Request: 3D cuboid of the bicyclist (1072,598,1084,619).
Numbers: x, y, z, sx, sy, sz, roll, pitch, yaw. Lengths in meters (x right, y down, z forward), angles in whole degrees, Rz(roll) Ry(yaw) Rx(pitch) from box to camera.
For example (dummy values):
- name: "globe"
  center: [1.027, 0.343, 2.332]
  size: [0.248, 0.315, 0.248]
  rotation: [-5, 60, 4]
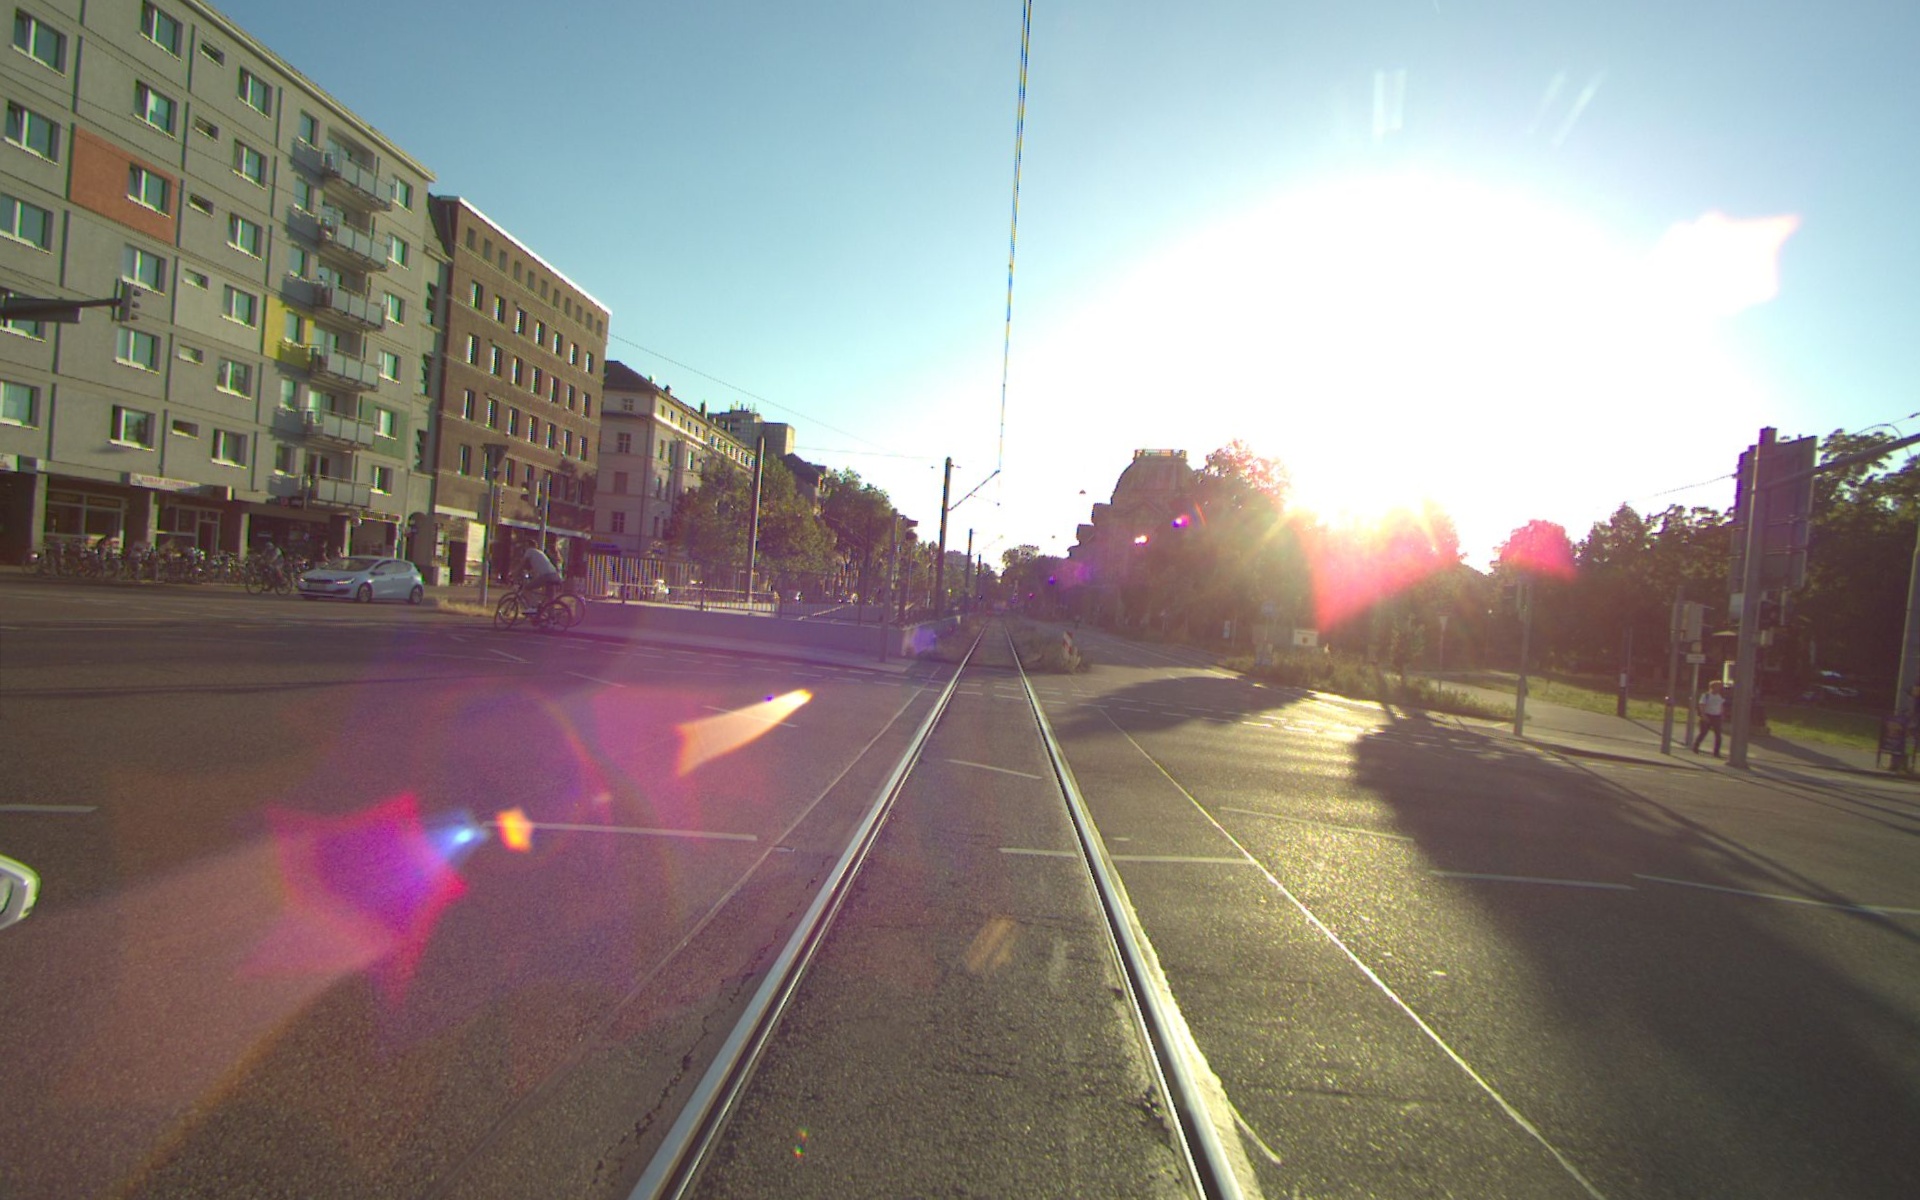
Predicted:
- name: "bicyclist"
  center: [13.352, 0.960, 114.212]
  size: [1.065, 2.306, 0.986]
  rotation: [5, 1, 2]

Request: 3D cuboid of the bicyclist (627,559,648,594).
- name: "bicyclist"
  center: [-19.675, -1.426, 61.440]
  size: [0.784, 2.040, 0.923]
  rotation: [5, 1, 4]

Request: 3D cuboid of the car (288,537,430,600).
- name: "car"
  center: [-18.264, -0.908, 30.804]
  size: [1.662, 1.639, 4.000]
  rotation: [5, 0, 4]

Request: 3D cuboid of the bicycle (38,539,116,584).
- name: "bicycle"
  center: [-26.185, -1.132, 29.845]
  size: [1.748, 1.156, 0.608]
  rotation: [5, 1, 2]

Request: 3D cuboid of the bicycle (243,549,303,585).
- name: "bicycle"
  center: [-25.163, -1.205, 36.843]
  size: [1.664, 1.167, 0.705]
  rotation: [5, 1, 4]

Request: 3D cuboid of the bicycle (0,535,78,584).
- name: "bicycle"
  center: [-26.539, -1.168, 28.914]
  size: [1.766, 1.224, 0.638]
  rotation: [5, 1, 2]

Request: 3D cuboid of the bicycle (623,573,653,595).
- name: "bicycle"
  center: [-19.716, -0.958, 61.567]
  size: [0.800, 1.216, 2.412]
  rotation: [5, 0, 5]

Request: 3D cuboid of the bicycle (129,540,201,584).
- name: "bicycle"
  center: [-25.478, -1.215, 32.249]
  size: [1.760, 1.206, 0.651]
  rotation: [5, 1, 2]

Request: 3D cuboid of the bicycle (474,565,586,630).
- name: "bicycle"
  center: [-8.421, -0.044, 19.739]
  size: [1.871, 1.089, 0.632]
  rotation: [5, 1, 0]

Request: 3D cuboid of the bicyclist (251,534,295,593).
- name: "bicyclist"
  center: [-21.849, -1.150, 32.004]
  size: [0.690, 1.765, 0.791]
  rotation: [5, 1, 14]

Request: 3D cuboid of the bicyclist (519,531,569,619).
- name: "bicyclist"
  center: [-8.937, -0.536, 21.645]
  size: [0.864, 1.842, 0.536]
  rotation: [2, 2, -12]

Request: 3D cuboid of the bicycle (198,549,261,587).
- name: "bicycle"
  center: [-25.356, -1.112, 34.922]
  size: [1.727, 1.131, 0.552]
  rotation: [5, 1, 3]

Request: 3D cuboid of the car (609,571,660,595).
- name: "car"
  center: [-22.331, -1.153, 69.157]
  size: [1.790, 1.438, 4.000]
  rotation: [5, 0, 6]

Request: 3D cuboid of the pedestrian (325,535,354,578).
- name: "pedestrian"
  center: [-27.849, -1.941, 45.146]
  size: [0.774, 1.865, 0.733]
  rotation: [5, 1, -6]

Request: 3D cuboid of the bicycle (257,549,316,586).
- name: "bicycle"
  center: [-25.139, -1.208, 37.580]
  size: [1.664, 1.194, 0.748]
  rotation: [5, 1, 4]

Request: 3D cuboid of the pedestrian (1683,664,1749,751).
- name: "pedestrian"
  center: [17.149, 2.424, 22.840]
  size: [0.820, 1.827, 0.810]
  rotation: [5, 1, 18]

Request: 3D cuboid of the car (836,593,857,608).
- name: "car"
  center: [-15.173, 0.108, 134.637]
  size: [1.855, 1.764, 4.330]
  rotation: [5, 0, 4]

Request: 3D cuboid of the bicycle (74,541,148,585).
- name: "bicycle"
  center: [-25.694, -1.122, 30.457]
  size: [1.729, 1.153, 0.599]
  rotation: [5, 1, 3]

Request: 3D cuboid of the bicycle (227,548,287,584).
- name: "bicycle"
  center: [-25.250, -1.217, 36.149]
  size: [1.699, 1.138, 0.634]
  rotation: [5, 0, 4]

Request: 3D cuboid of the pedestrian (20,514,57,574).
- name: "pedestrian"
  center: [-27.463, -1.663, 29.981]
  size: [0.570, 1.706, 0.546]
  rotation: [5, 2, 24]

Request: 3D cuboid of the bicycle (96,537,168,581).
- name: "bicycle"
  center: [-25.517, -1.255, 31.008]
  size: [1.738, 1.183, 0.540]
  rotation: [5, 1, 3]

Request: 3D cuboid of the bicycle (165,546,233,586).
- name: "bicycle"
  center: [-25.477, -1.142, 33.688]
  size: [1.748, 1.174, 0.605]
  rotation: [5, 1, 2]

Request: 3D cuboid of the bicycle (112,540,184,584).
- name: "bicycle"
  center: [-25.494, -1.201, 31.596]
  size: [1.741, 1.197, 0.568]
  rotation: [5, 1, 2]

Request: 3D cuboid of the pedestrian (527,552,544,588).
- name: "pedestrian"
  center: [-26.568, -1.861, 62.973]
  size: [0.592, 2.206, 0.792]
  rotation: [5, 1, 2]

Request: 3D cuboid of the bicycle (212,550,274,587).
- name: "bicycle"
  center: [-25.307, -1.110, 35.506]
  size: [1.733, 1.134, 0.568]
  rotation: [5, 1, 3]

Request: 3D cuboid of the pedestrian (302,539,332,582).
- name: "pedestrian"
  center: [-28.744, -1.778, 44.998]
  size: [0.815, 1.836, 0.719]
  rotation: [5, 1, -8]

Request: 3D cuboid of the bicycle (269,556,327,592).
- name: "bicycle"
  center: [-25.227, -0.993, 38.368]
  size: [1.664, 1.185, 0.748]
  rotation: [5, 1, 4]

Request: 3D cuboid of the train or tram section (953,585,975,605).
- name: "train or tram section"
  center: [0.770, -1.061, 224.325]
  size: [4.319, 3.899, 11.402]
  rotation: [5, 0, -2]

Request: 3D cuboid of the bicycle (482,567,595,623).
- name: "bicycle"
  center: [-9.047, -0.114, 21.644]
  size: [2.133, 1.098, 0.537]
  rotation: [3, 2, -12]

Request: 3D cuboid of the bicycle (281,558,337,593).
- name: "bicycle"
  center: [-25.307, -0.951, 39.109]
  size: [1.664, 1.159, 0.696]
  rotation: [5, 1, 4]

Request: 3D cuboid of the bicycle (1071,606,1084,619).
- name: "bicycle"
  center: [13.322, 1.395, 114.272]
  size: [1.080, 1.417, 2.831]
  rotation: [5, 0, 2]

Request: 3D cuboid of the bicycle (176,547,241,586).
- name: "bicycle"
  center: [-25.633, -1.146, 34.332]
  size: [1.743, 1.150, 0.605]
  rotation: [5, 1, 3]

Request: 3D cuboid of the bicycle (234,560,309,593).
- name: "bicycle"
  center: [-21.894, -0.733, 32.035]
  size: [0.692, 0.893, 1.947]
  rotation: [5, 0, 14]

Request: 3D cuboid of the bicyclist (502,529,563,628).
- name: "bicyclist"
  center: [-8.376, -0.413, 19.729]
  size: [0.780, 1.842, 0.646]
  rotation: [5, 1, 0]

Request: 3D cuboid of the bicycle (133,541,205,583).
- name: "bicycle"
  center: [-25.965, -1.249, 33.040]
  size: [1.802, 1.175, 0.640]
  rotation: [5, 1, 2]
